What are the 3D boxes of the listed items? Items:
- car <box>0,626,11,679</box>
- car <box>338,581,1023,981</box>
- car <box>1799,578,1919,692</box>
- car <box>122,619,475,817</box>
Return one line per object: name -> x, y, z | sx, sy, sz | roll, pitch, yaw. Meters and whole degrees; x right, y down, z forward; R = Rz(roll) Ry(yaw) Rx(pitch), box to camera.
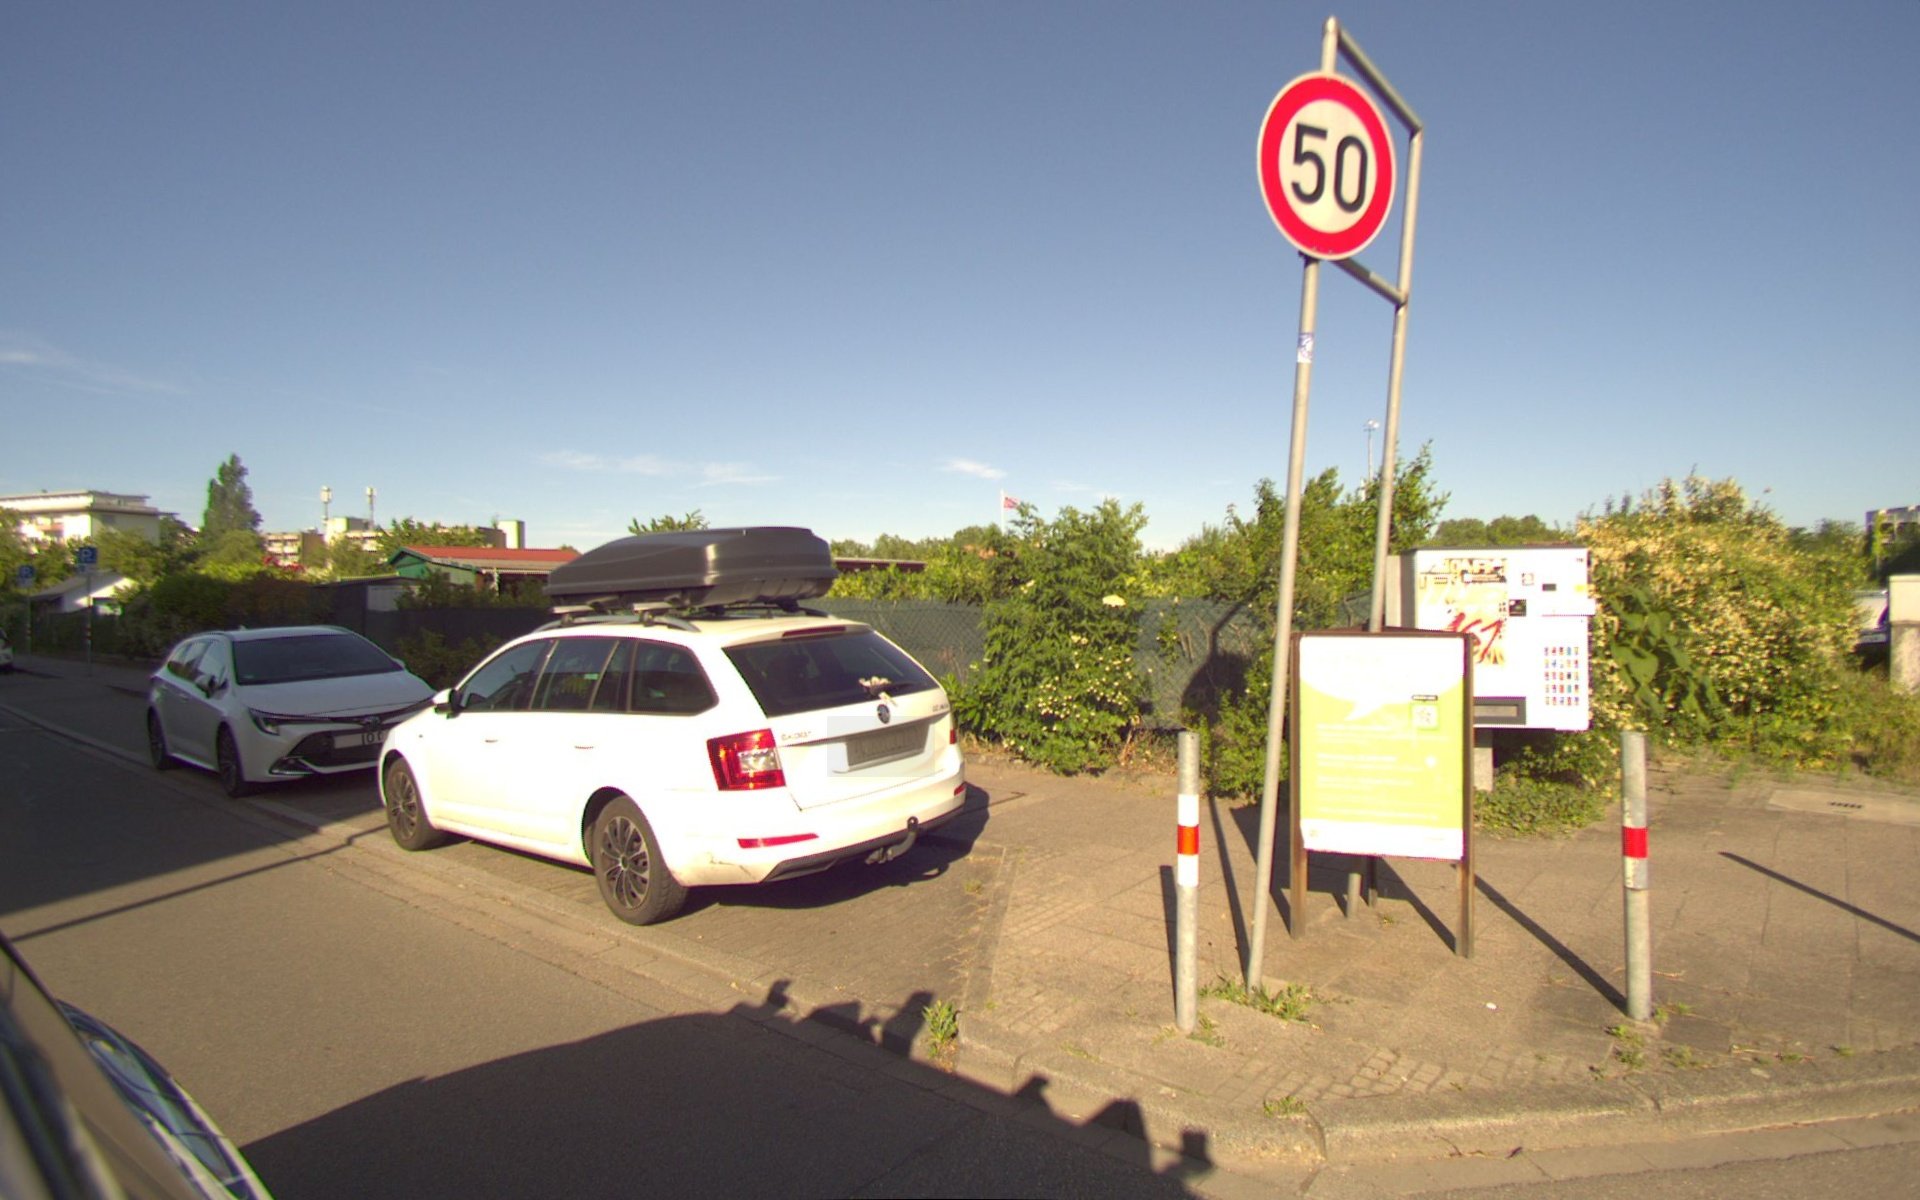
car -> -29.064, 1.545, 29.604 | 3.399, 1.499, 1.512 | -2, 0, 40
car -> -1.960, 0.775, 6.110 | 4.513, 1.524, 1.679 | -2, 1, 40
car -> 15.292, 0.501, 15.291 | 1.488, 1.707, 3.849 | 0, -1, -44
car -> -6.805, 1.000, 10.198 | 4.538, 1.456, 1.729 | -2, 2, 41
